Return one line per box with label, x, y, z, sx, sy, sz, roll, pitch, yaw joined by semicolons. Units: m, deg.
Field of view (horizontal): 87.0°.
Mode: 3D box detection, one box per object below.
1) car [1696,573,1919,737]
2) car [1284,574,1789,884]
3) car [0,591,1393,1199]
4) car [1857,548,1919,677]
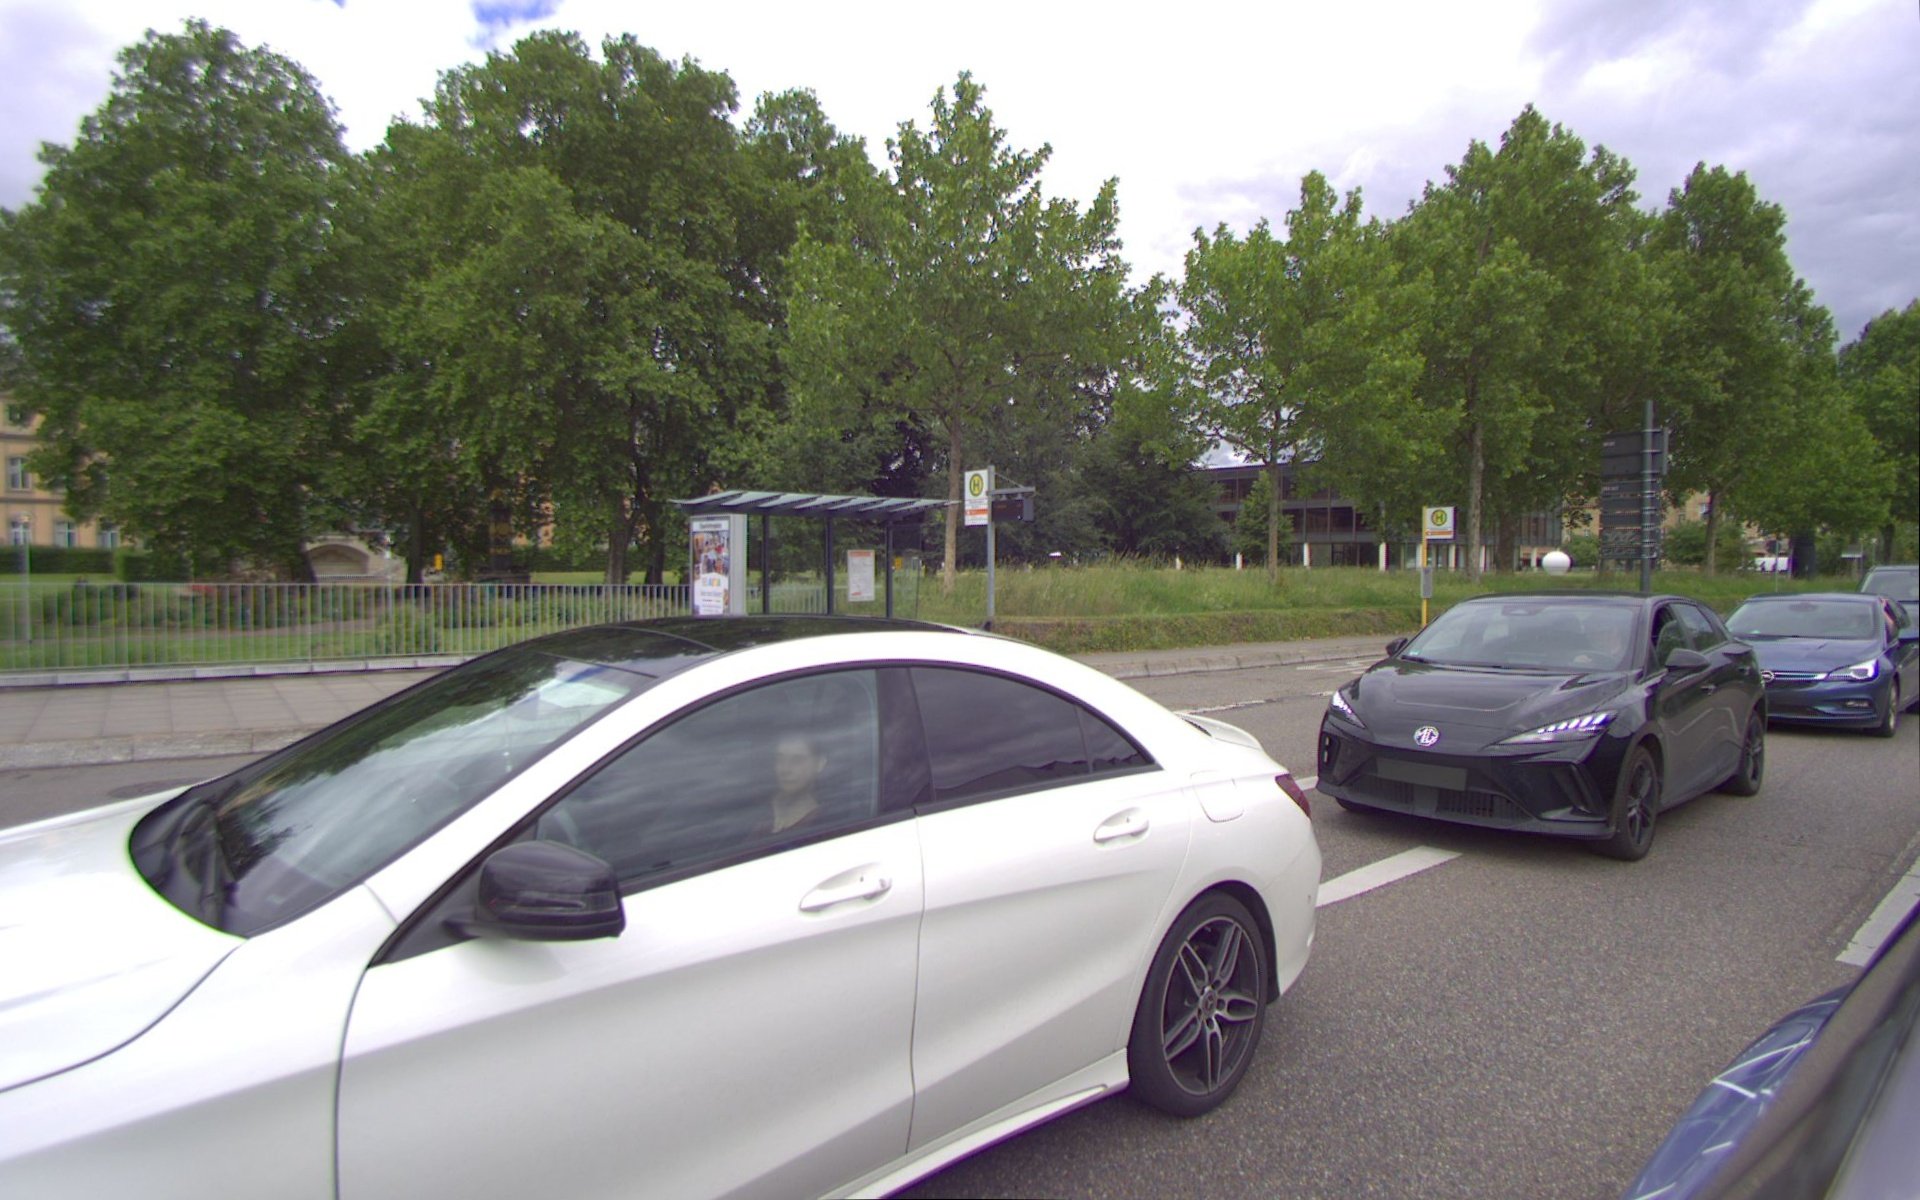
car;9.838;0.486;11.423;3.930;1.556;1.572;-1;1;-40
car;4.179;0.630;7.059;4.047;1.543;1.828;0;0;-41
car;-0.716;0.717;2.749;4.427;1.441;1.722;-1;1;-41
car;15.824;0.160;16.136;4.353;1.885;1.722;-1;1;-41
